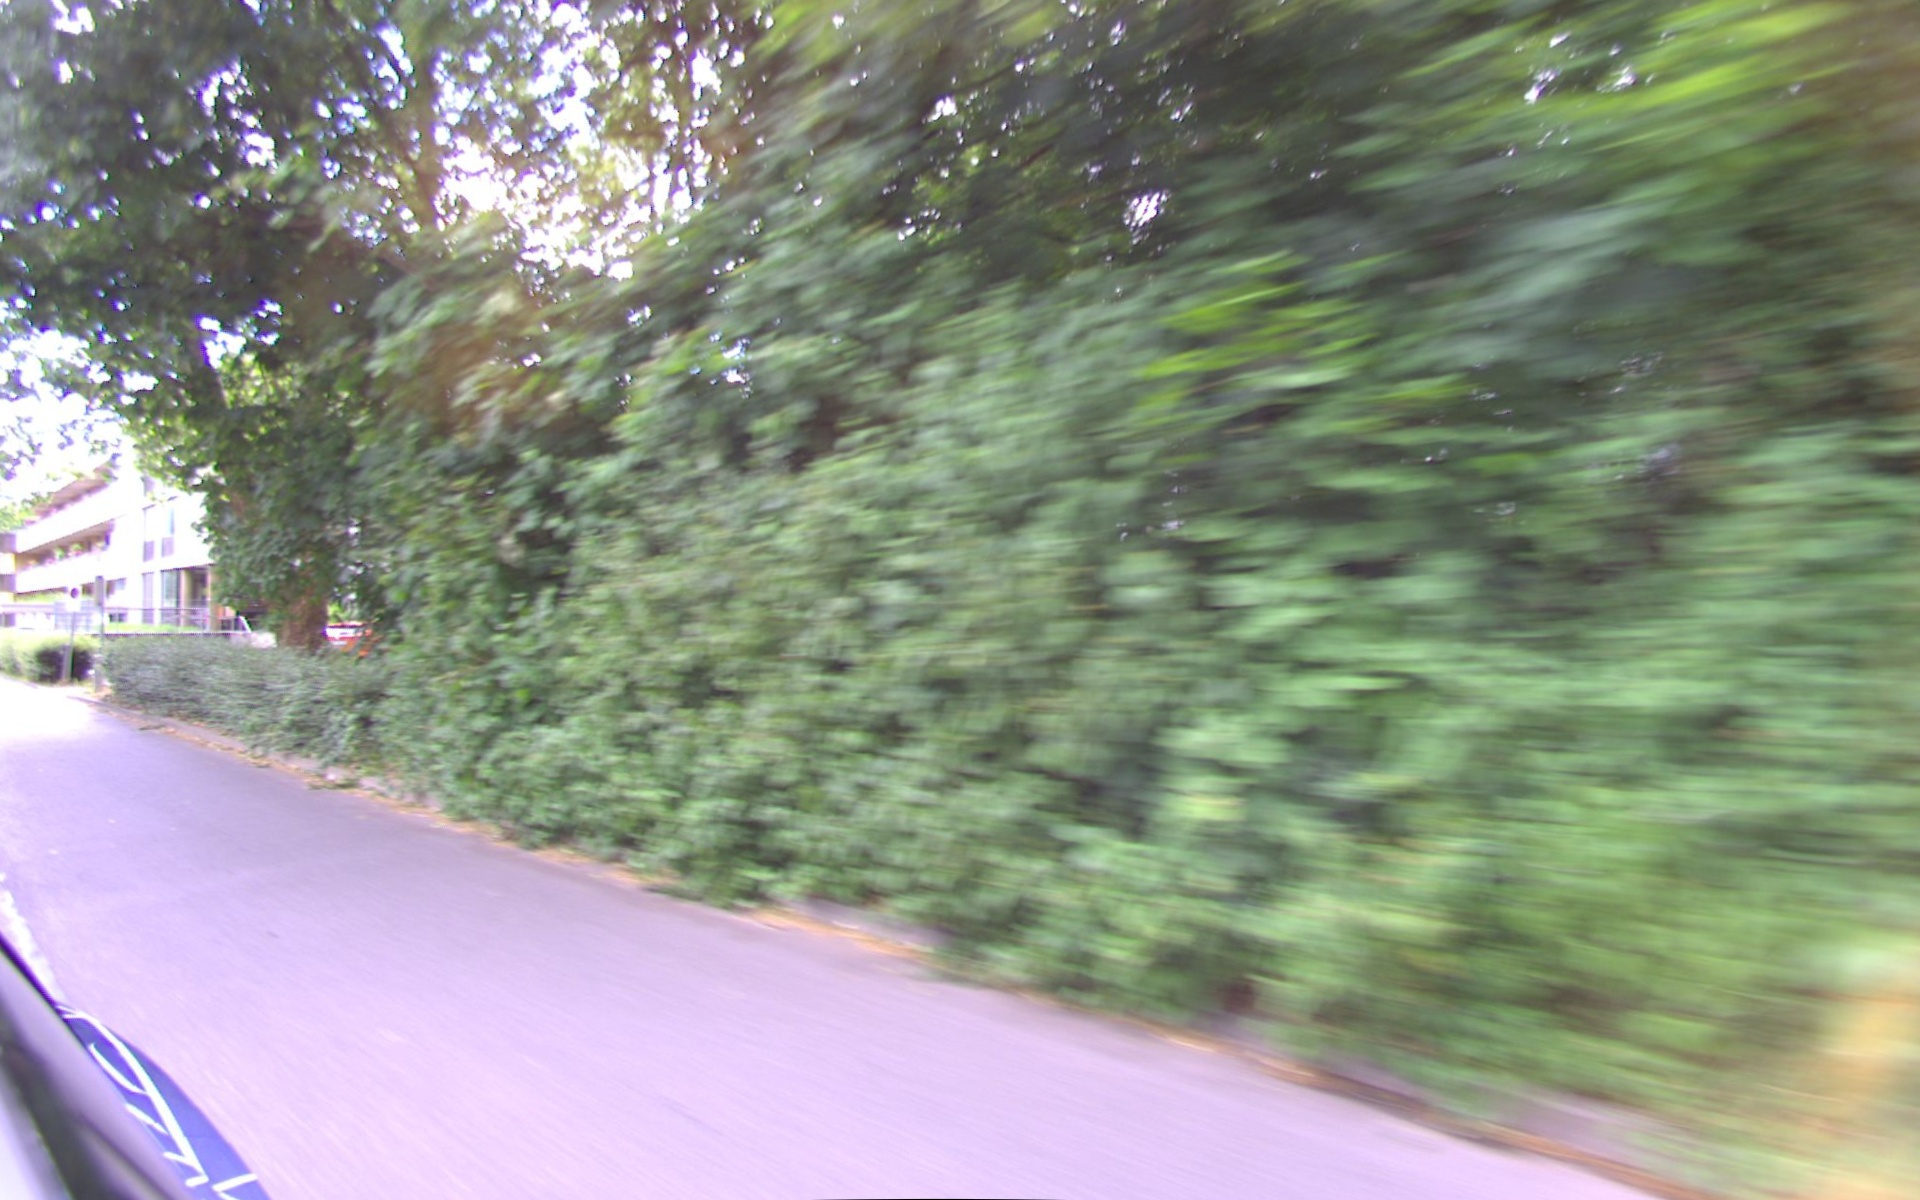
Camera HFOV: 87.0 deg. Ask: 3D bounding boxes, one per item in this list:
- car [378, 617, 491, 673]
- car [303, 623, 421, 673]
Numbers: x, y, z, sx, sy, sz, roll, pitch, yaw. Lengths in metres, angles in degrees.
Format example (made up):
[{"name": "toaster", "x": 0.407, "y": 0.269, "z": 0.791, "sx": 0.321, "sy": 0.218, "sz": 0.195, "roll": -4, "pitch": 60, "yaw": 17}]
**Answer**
[{"name": "car", "x": -16.354, "y": 1.351, "z": 31.737, "sx": 1.797, "sy": 1.623, "sz": 4.005, "roll": 0, "pitch": -1, "yaw": -6}, {"name": "car", "x": -18.937, "y": 1.484, "z": 32.253, "sx": 1.723, "sy": 1.441, "sz": 4.005, "roll": 0, "pitch": -1, "yaw": -6}]
